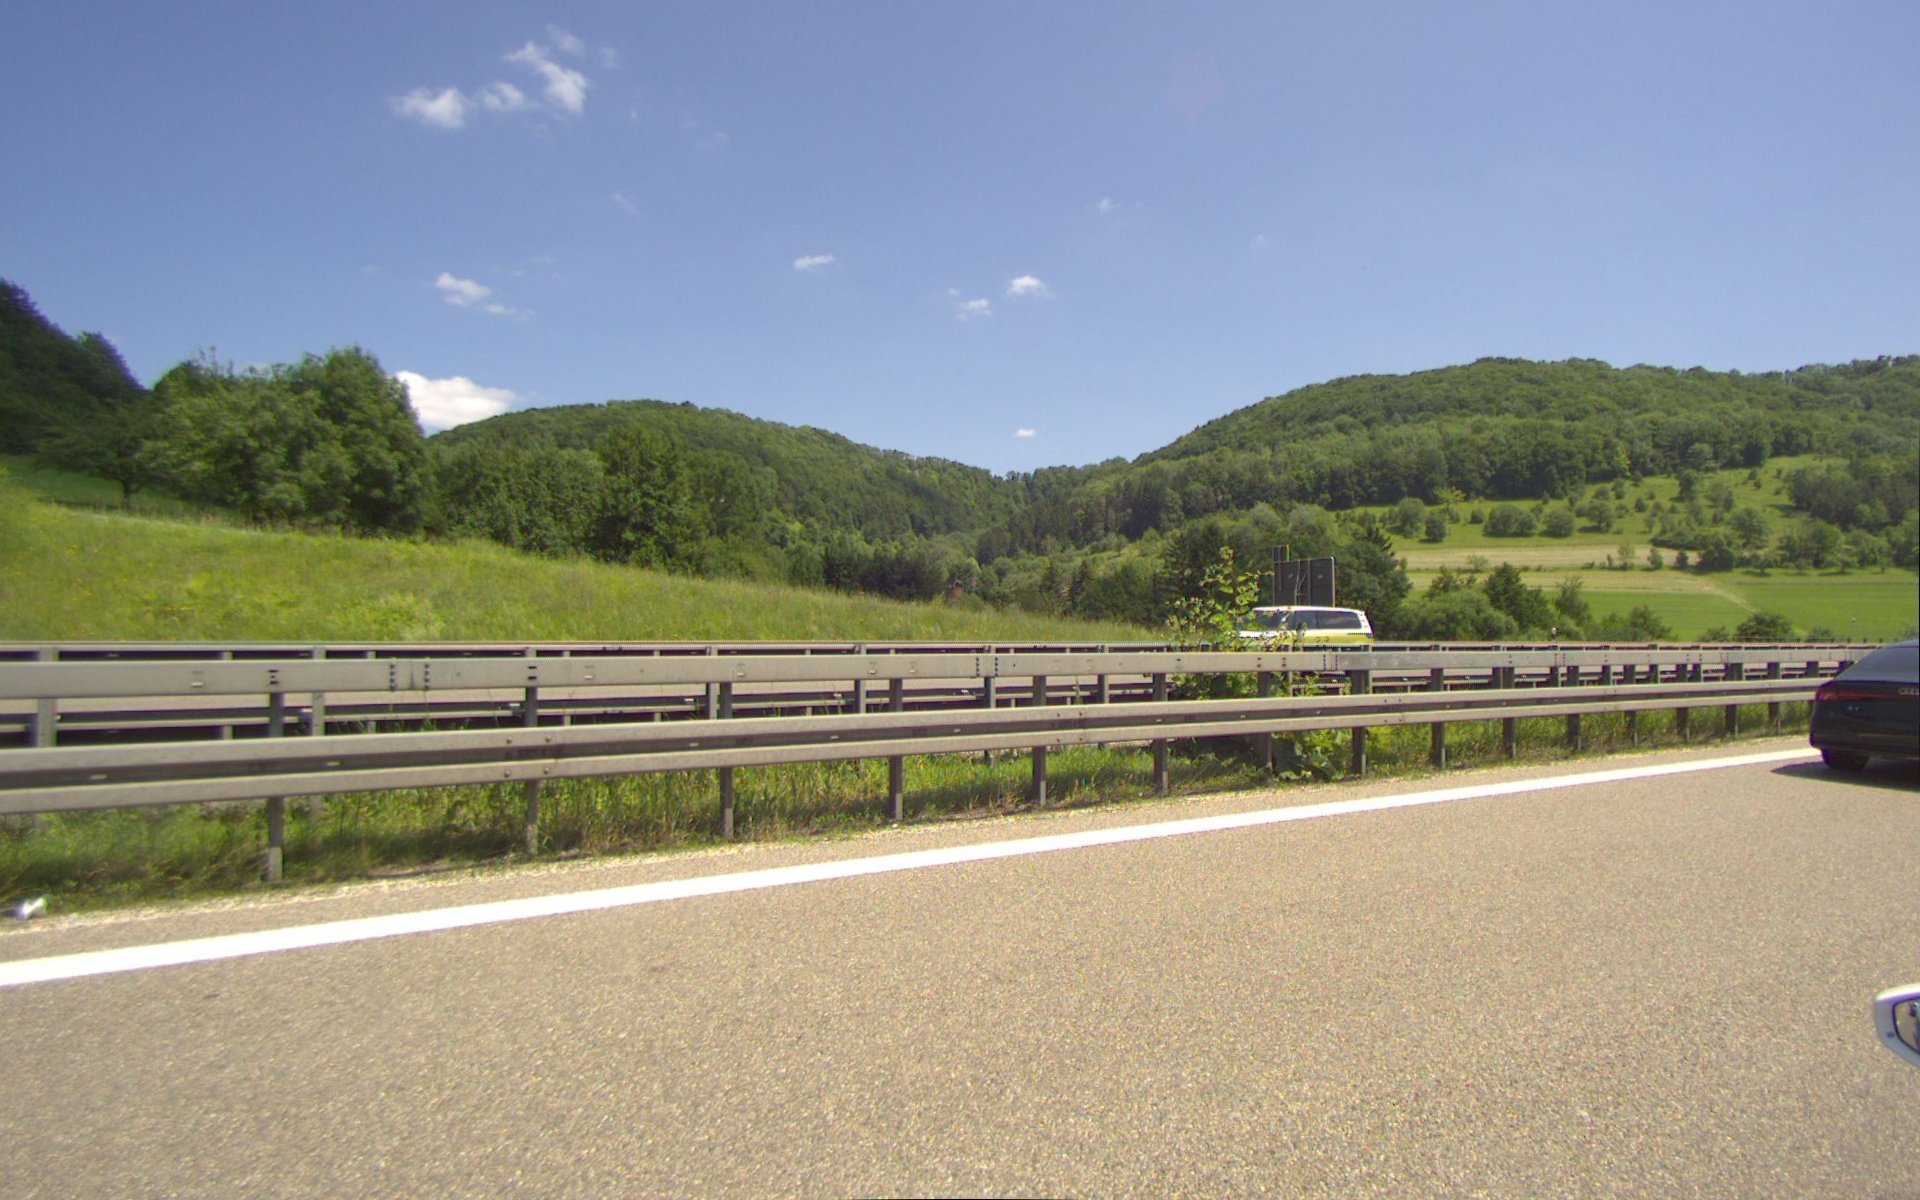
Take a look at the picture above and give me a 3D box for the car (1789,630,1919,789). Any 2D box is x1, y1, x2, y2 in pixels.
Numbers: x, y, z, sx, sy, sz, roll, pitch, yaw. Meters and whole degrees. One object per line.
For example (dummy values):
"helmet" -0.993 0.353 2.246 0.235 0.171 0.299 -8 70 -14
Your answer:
"car" 10.675 1.044 10.332 4.912 1.409 1.792 1 -1 -31

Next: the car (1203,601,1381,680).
"car" 9.007 1.062 27.199 4.606 1.967 2.050 1 -1 -30
